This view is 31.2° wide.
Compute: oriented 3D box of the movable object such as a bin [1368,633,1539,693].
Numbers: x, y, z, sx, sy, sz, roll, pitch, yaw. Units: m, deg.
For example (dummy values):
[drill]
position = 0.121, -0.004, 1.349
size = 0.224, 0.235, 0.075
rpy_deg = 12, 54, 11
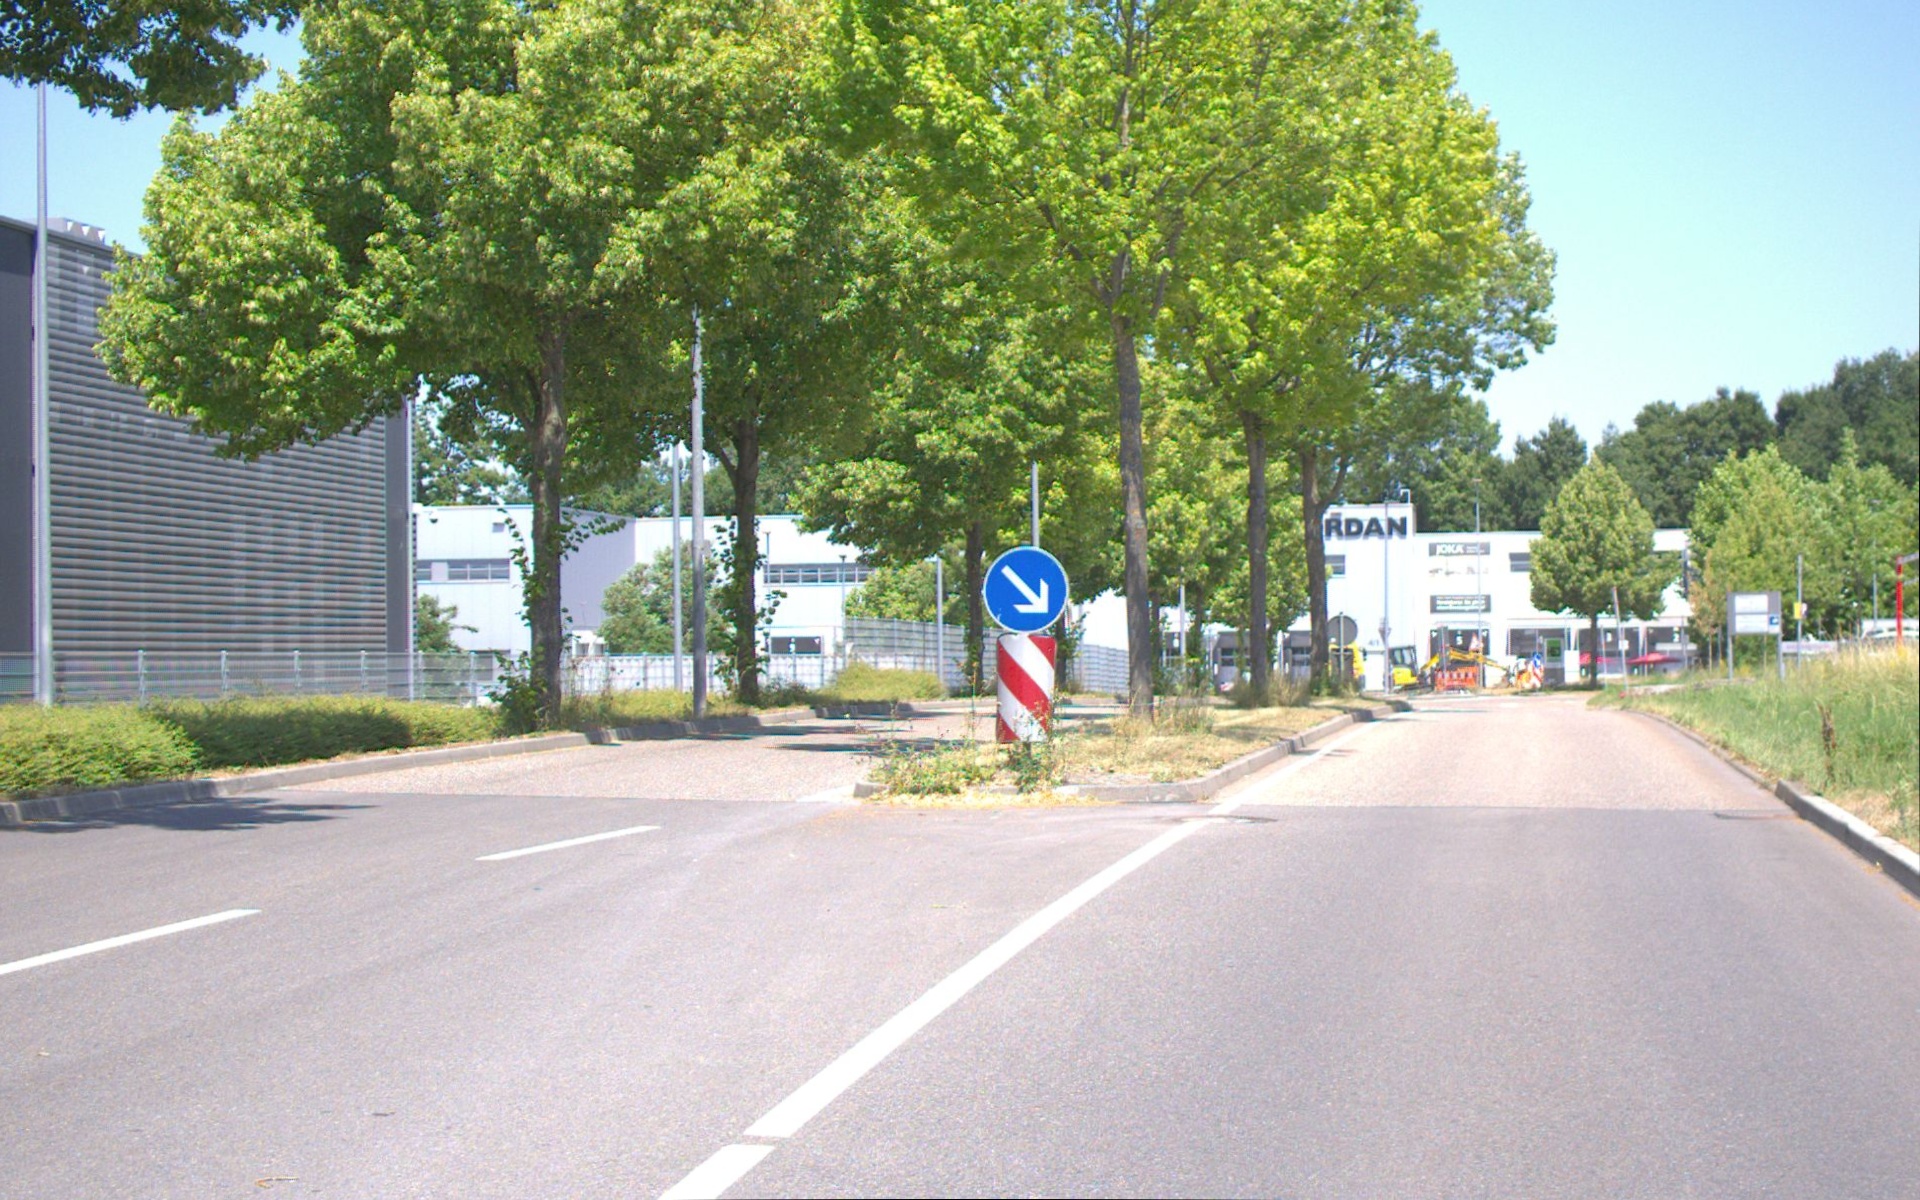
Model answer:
[movable object such as a bin]
position = 23.628, 3.008, 164.395
size = 7.532, 2.491, 3.663
rpy_deg = -2, 2, 17

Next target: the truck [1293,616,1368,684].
[truck]
position = 17.755, 2.361, 164.947
size = 2.938, 2.876, 5.810
rpy_deg = -2, 2, 1
